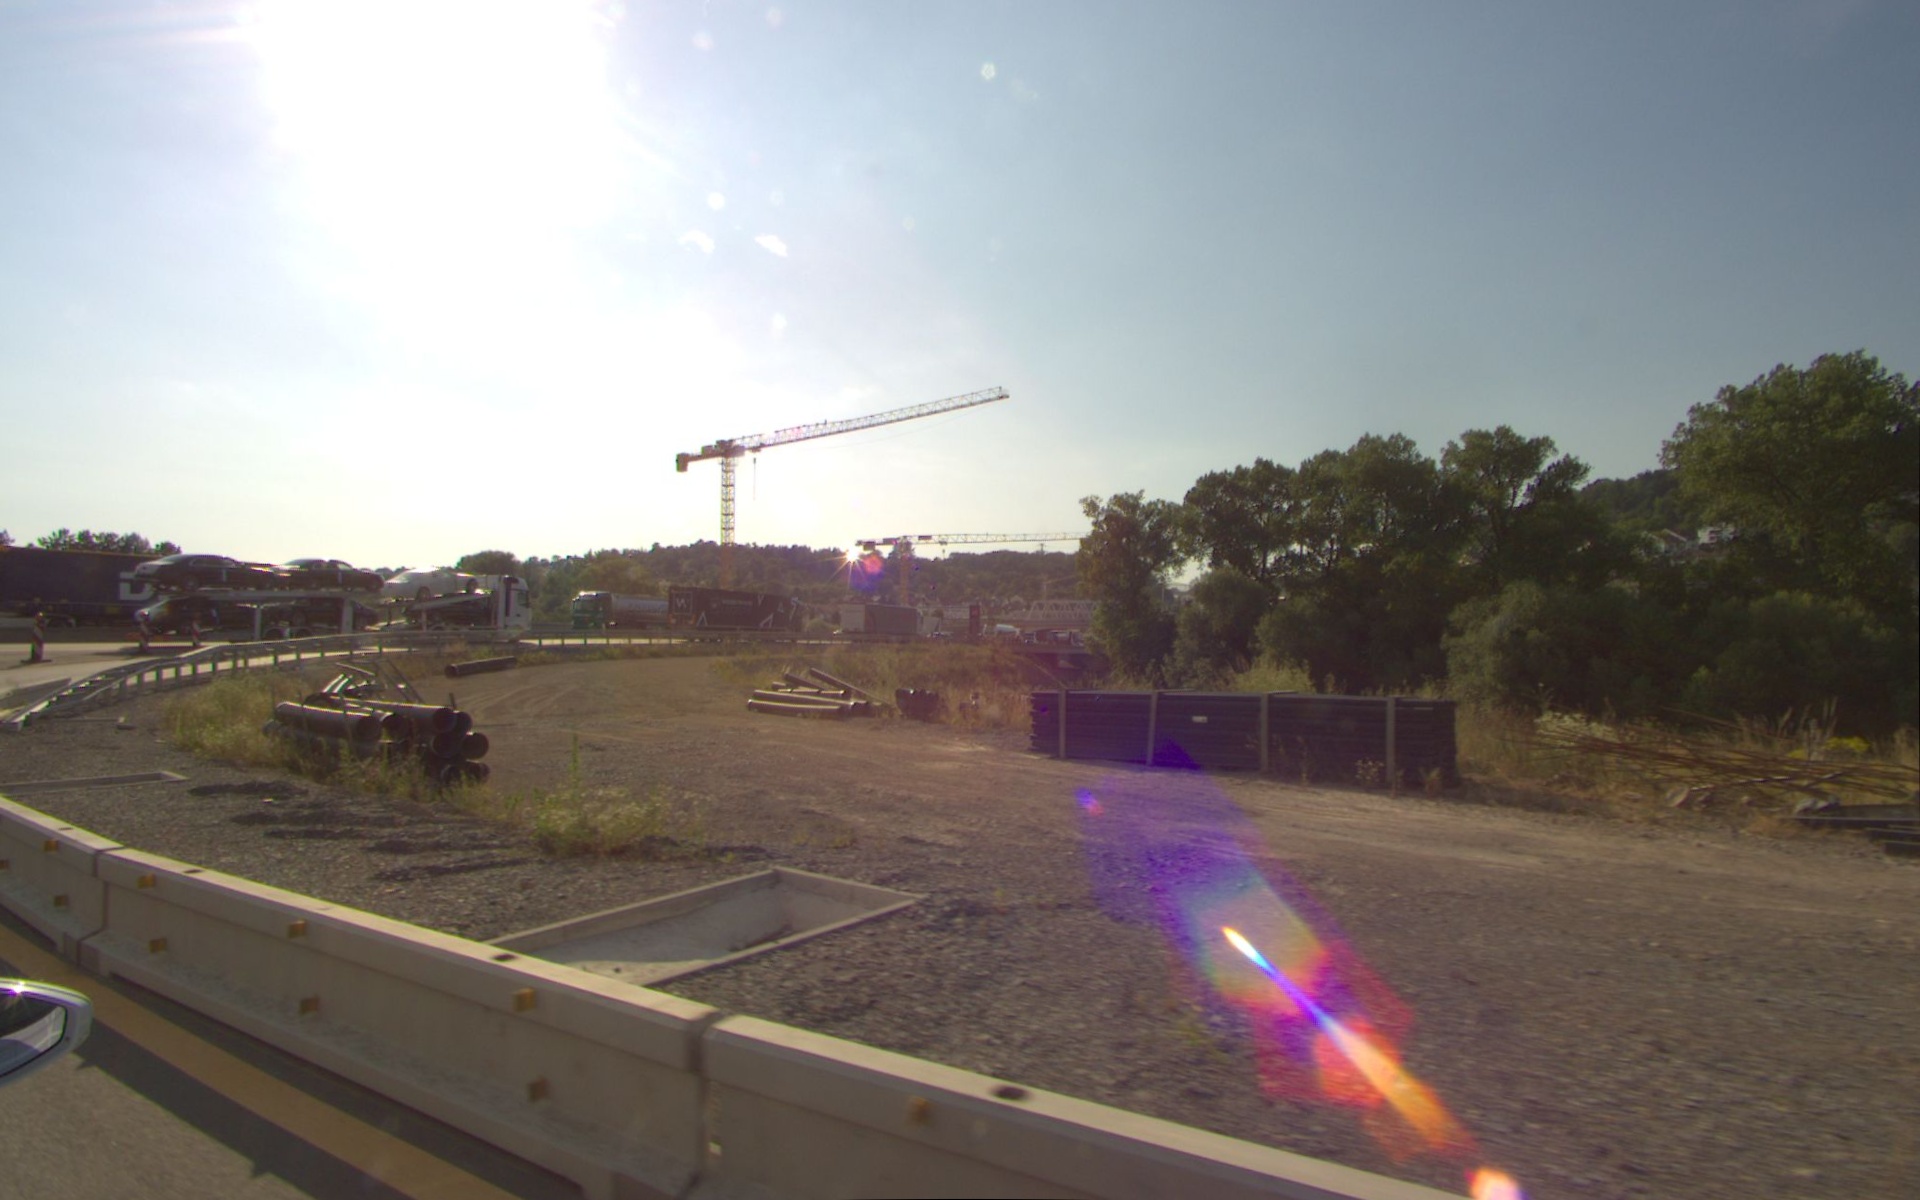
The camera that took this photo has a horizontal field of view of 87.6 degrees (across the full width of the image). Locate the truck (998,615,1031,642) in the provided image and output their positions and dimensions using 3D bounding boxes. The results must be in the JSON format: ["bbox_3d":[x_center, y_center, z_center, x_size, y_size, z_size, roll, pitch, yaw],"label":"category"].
[{"bbox_3d":[8.658,4.555,158.541,3.341,4.047,6.615,1,-2,19],"label":"truck"}]

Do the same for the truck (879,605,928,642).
[{"bbox_3d":[-6.410,2.750,114.962,3.295,4.047,6.615,1,-2,19],"label":"truck"}]

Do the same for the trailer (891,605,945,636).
[{"bbox_3d":[-5.867,3.045,144.164,2.590,4.117,14.058,-1,-3,20],"label":"trailer"}]

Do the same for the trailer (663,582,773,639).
[{"bbox_3d":[-19.015,0.984,79.659,2.917,4.143,10.776,0,-2,20],"label":"trailer"}]

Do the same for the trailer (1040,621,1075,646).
[{"bbox_3d":[18.300,6.368,186.549,3.059,4.368,14.233,1,-2,19],"label":"trailer"}]

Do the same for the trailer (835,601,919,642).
[{"bbox_3d":[-8.684,2.453,108.263,3.336,4.047,14.725,1,-2,19],"label":"trailer"}]

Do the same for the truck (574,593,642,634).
[{"bbox_3d":[-28.644,1.196,81.682,2.109,3.173,5.681,-1,-2,19],"label":"truck"}]

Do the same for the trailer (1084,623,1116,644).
[{"bbox_3d":[30.946,7.432,220.752,4.038,4.368,14.233,1,-2,19],"label":"trailer"}]

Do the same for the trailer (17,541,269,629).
[{"bbox_3d":[-40.393,-0.548,50.126,2.964,3.798,9.555,-1,-2,20],"label":"trailer"}]

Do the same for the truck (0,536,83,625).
[{"bbox_3d":[-42.691,-0.855,43.867,2.954,3.774,5.680,-1,-2,20],"label":"truck"}]

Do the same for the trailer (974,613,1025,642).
[{"bbox_3d":[6.129,4.240,151.256,3.336,4.047,14.725,1,-2,19],"label":"trailer"}]

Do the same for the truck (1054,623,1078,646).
[{"bbox_3d":[20.498,6.664,192.898,3.053,4.340,6.615,1,-2,19],"label":"truck"}]

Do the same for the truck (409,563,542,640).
[{"bbox_3d":[-27.268,0.203,56.735,2.807,4.047,6.615,1,-2,19],"label":"truck"}]

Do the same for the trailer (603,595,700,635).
[{"bbox_3d":[-26.703,1.452,87.375,2.109,3.173,10.969,0,-3,18],"label":"trailer"}]

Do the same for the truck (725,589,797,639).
[{"bbox_3d":[-16.887,1.239,85.368,2.844,4.047,6.614,1,-2,21],"label":"truck"}]

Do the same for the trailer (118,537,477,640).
[{"bbox_3d":[-30.416,-0.173,47.847,2.816,4.047,15.725,1,-2,19],"label":"trailer"}]
